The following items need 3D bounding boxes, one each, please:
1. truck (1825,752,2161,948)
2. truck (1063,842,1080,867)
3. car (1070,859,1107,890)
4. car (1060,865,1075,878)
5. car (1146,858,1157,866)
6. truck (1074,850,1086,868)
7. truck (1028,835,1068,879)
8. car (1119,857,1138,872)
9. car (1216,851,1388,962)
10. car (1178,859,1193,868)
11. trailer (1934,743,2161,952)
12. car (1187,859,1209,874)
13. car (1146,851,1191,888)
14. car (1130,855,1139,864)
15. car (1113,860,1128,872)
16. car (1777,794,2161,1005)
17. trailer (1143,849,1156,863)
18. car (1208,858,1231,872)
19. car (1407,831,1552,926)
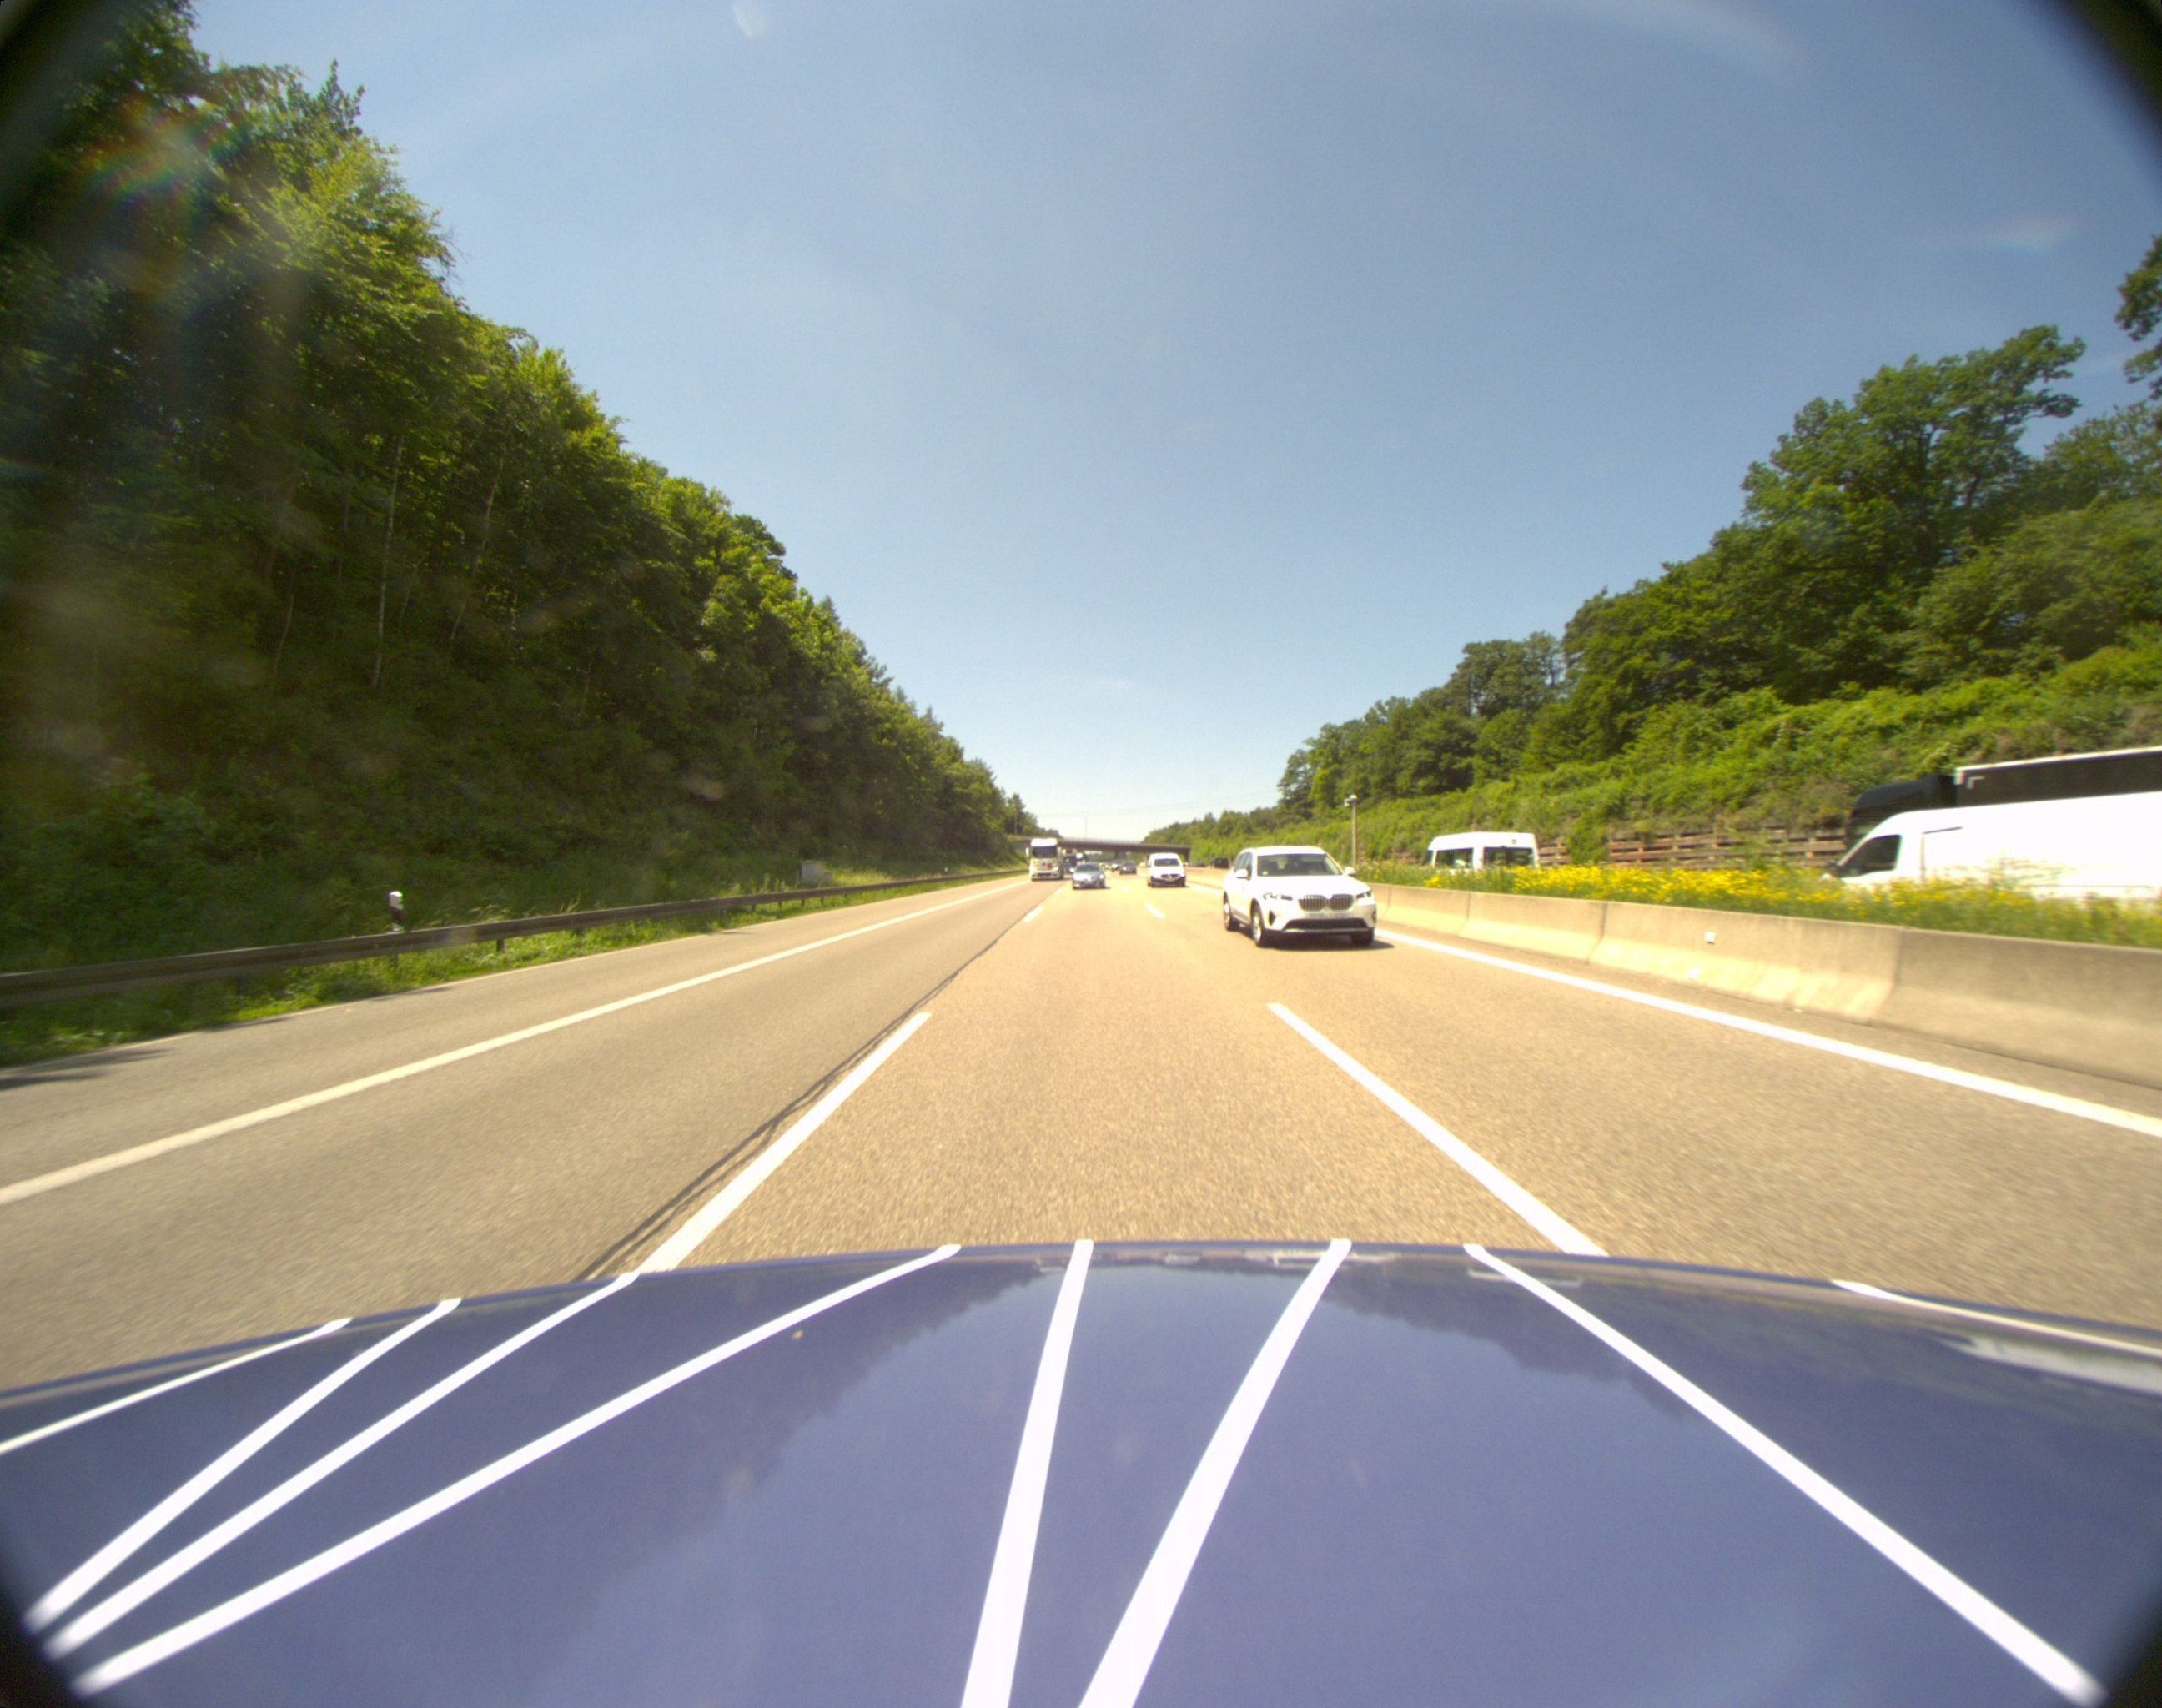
[{"bbox_3d":[22.641,-0.065,18.636,2.941,4.035,5.868,1,0,1],"label":"truck"},{"bbox_3d":[-1.705,0.072,140.074,2.627,4.365,13.087,-3,0,1],"label":"truck"},{"bbox_3d":[0.460,1.106,42.397,1.843,1.518,4.502,-3,0,2],"label":"car"},{"bbox_3d":[-1.667,2.168,96.259,1.770,1.504,4.000,-3,0,1],"label":"car"},{"bbox_3d":[13.461,1.506,145.631,1.757,1.628,4.303,0,0,1],"label":"car"},{"bbox_3d":[-0.196,1.316,197.318,2.627,4.365,13.087,-3,0,1],"label":"truck"},{"bbox_3d":[-2.918,0.273,70.318,2.844,3.518,13.087,-3,0,1],"label":"truck"},{"bbox_3d":[5.222,1.126,83.261,1.770,1.504,4.725,-3,0,1],"label":"car"},{"bbox_3d":[3.753,0.813,13.758,1.850,1.634,4.368,-2,0,1],"label":"car"},{"bbox_3d":[17.855,1.625,130.373,1.887,1.628,5.649,0,0,1],"label":"car"},{"bbox_3d":[22.540,-0.104,11.778,2.985,4.077,13.994,1,0,1],"label":"trailer"},{"bbox_3d":[12.730,1.342,82.932,1.766,1.595,4.082,0,0,1],"label":"car"},{"bbox_3d":[4.630,0.785,40.952,1.998,1.764,4.502,-3,0,2],"label":"car"},{"bbox_3d":[15.596,1.687,222.944,2.245,2.667,5.341,0,0,1],"label":"car"},{"bbox_3d":[5.490,1.697,105.806,1.770,1.504,4.000,-3,0,1],"label":"car"},{"bbox_3d":[15.027,0.597,12.067,2.761,2.658,5.684,0,0,1],"label":"car"},{"bbox_3d":[22.252,0.646,246.483,2.942,4.161,14.185,-2,0,1],"label":"trailer"},{"bbox_3d":[16.377,1.261,89.966,1.944,1.595,4.657,0,0,1],"label":"car"},{"bbox_3d":[12.214,0.704,23.711,2.003,2.658,4.846,0,0,1],"label":"car"}]
